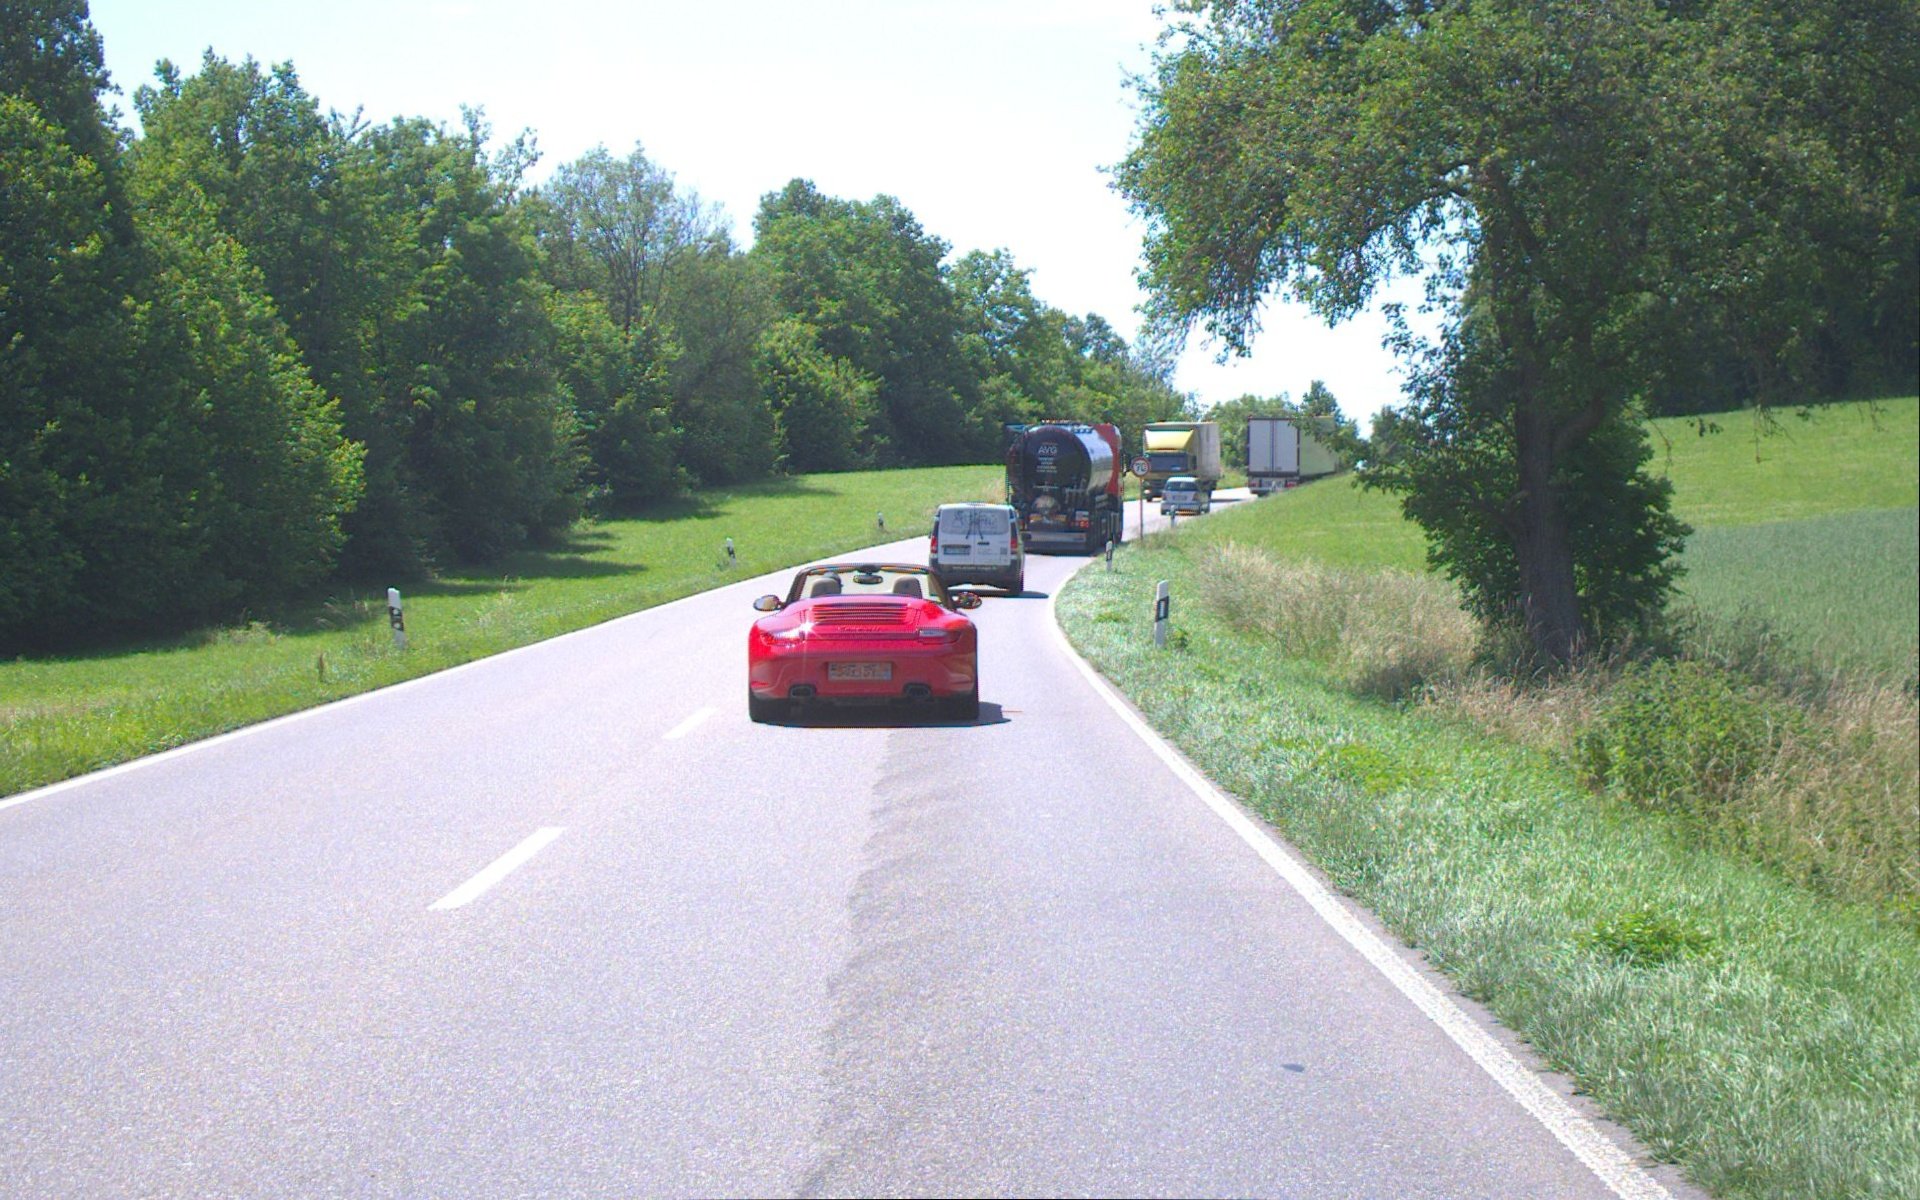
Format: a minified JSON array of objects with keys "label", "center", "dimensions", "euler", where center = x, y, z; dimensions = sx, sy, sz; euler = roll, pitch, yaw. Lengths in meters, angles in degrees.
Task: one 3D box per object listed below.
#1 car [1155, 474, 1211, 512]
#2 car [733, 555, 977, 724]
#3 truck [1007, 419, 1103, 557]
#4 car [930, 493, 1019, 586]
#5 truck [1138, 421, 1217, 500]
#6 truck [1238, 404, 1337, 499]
[{"label":"car","center":[9.229,-4.428,142.173],"dimensions":[1.831,1.508,4.189],"euler":[0,3,11]},{"label":"car","center":[-0.849,0.278,28.721],"dimensions":[1.882,1.250,4.010],"euler":[0,1,-1]},{"label":"truck","center":[3.040,-3.441,106.954],"dimensions":[2.404,4.036,12.549],"euler":[1,1,4]},{"label":"car","center":[0.329,-1.286,72.275],"dimensions":[1.679,1.894,4.009],"euler":[0,1,3]},{"label":"truck","center":[10.512,-6.689,165.198],"dimensions":[2.731,3.678,8.543],"euler":[1,2,11]},{"label":"truck","center":[16.702,-7.559,174.540],"dimensions":[3.727,4.644,12.026],"euler":[0,3,12]}]
